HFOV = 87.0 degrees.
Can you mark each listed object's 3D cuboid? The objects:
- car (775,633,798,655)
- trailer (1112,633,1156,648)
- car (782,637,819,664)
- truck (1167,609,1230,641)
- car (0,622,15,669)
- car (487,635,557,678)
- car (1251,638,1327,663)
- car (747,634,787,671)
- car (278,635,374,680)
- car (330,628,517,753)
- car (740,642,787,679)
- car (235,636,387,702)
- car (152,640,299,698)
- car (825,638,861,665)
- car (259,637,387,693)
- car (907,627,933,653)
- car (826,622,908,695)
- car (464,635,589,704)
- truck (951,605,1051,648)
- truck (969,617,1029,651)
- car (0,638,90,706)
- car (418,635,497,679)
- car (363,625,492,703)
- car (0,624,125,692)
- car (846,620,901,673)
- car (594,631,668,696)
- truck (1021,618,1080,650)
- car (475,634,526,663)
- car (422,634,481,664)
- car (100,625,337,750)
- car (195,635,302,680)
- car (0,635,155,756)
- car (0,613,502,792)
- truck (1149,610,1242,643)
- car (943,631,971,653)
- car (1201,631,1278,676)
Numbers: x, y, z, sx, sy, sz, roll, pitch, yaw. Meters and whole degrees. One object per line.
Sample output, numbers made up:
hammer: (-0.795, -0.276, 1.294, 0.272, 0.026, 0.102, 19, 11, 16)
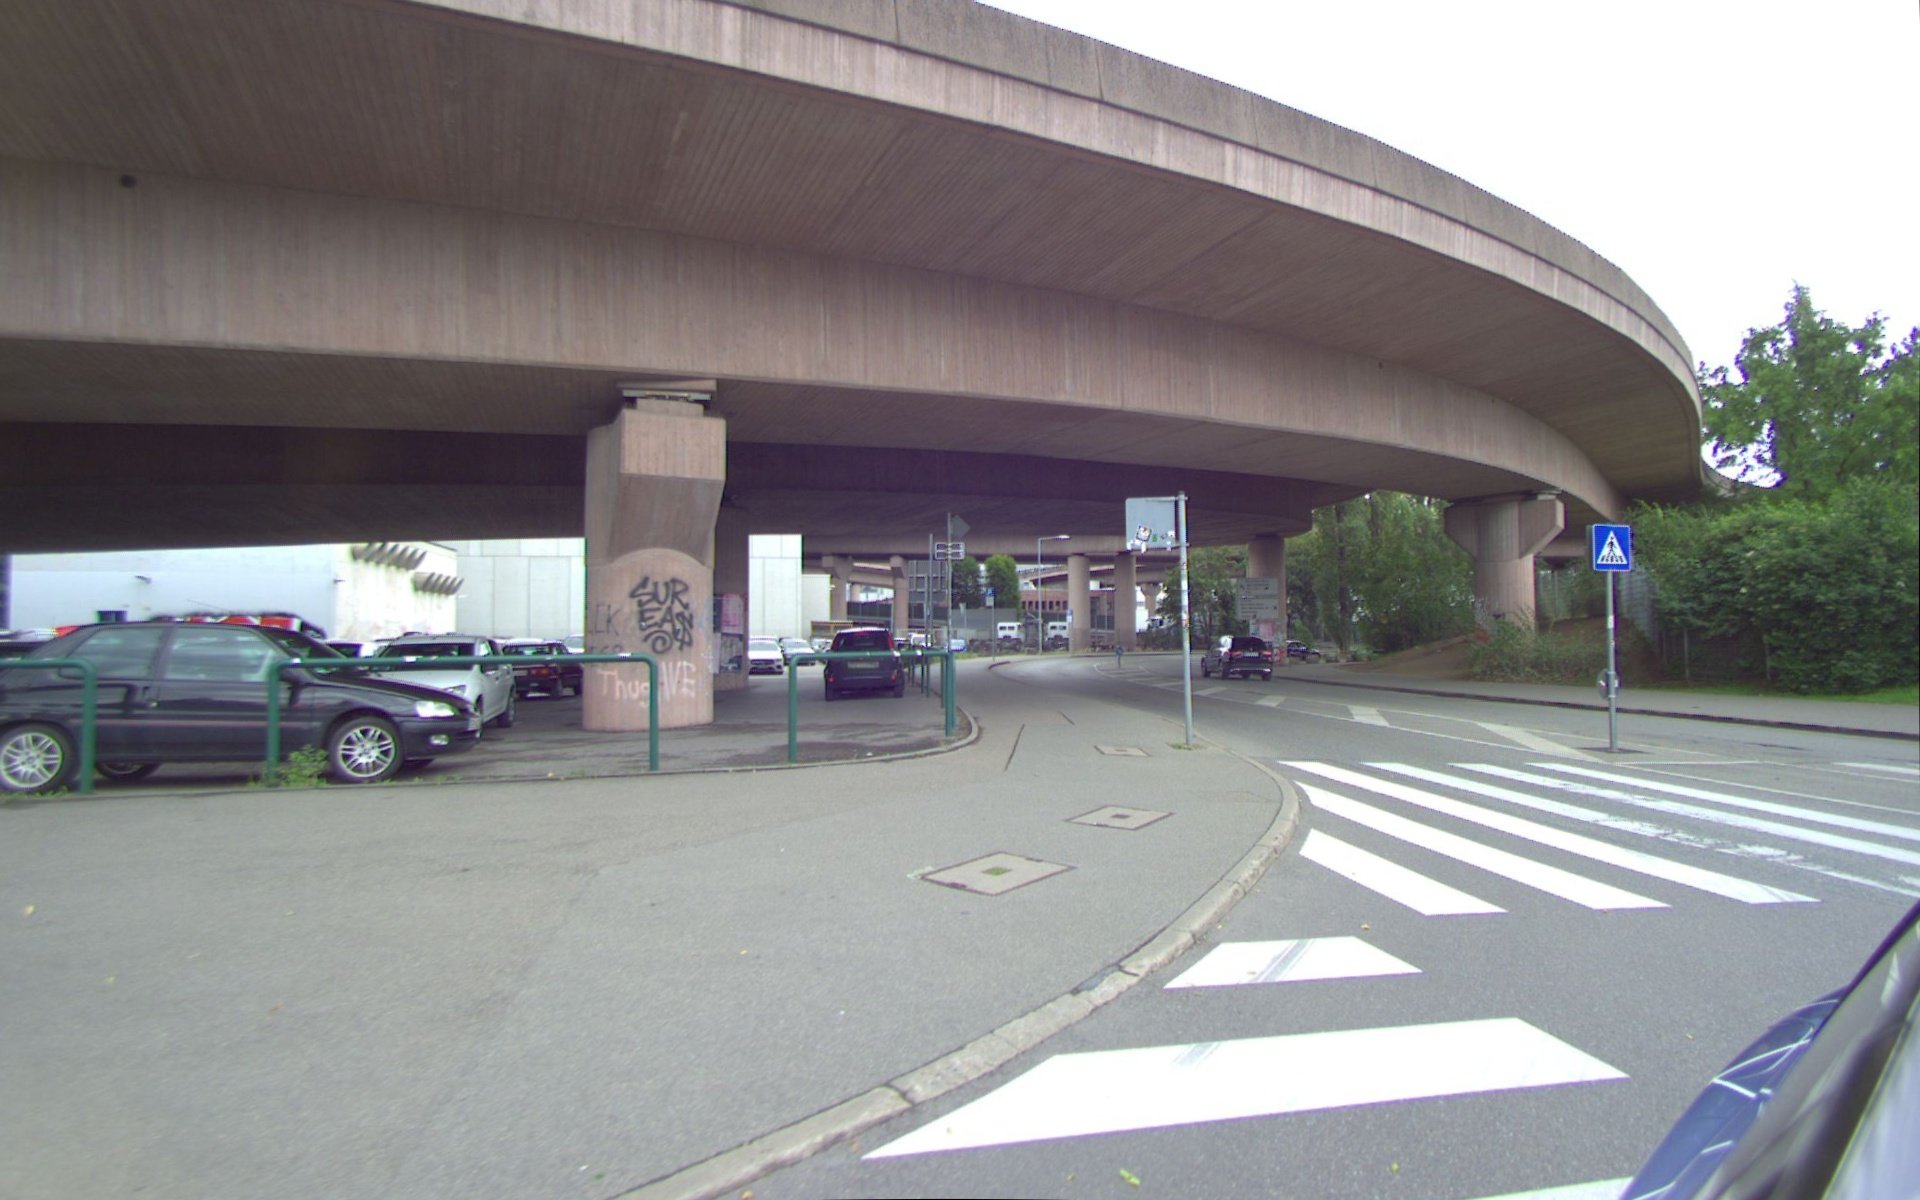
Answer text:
car: (-12.654, 3.216, 73.915, 1.590, 1.564, 3.101, 1, -2, -9)
trailer: (16.614, 3.813, 96.750, 4.300, 1.348, 1.605, 1, -1, -36)
car: (-9.320, 2.935, 58.918, 1.819, 1.494, 4.693, 0, -2, -12)
truck: (25.797, 2.689, 109.609, 6.282, 3.452, 2.273, 0, -1, -6)
car: (-35.531, 1.602, 35.315, 1.800, 1.710, 4.198, 0, -2, -13)
car: (-17.394, 2.224, 40.404, 1.800, 1.613, 4.198, 0, -2, -13)
car: (20.003, 3.062, 61.510, 4.680, 1.449, 1.828, 1, -4, -33)
car: (-9.190, 2.458, 48.043, 1.709, 1.697, 4.477, 0, -2, -13)
car: (-24.123, 2.155, 38.703, 1.800, 1.613, 4.198, 0, -2, -13)
car: (-7.695, 1.207, 14.896, 1.604, 1.572, 4.018, 1, -2, -16)
car: (-8.370, 2.531, 42.822, 1.800, 1.440, 4.198, 0, -2, -13)
car: (-15.264, 1.572, 24.042, 1.800, 1.446, 3.868, 0, -2, -13)
car: (-20.488, 1.877, 28.455, 1.800, 1.485, 4.198, 0, -2, -13)
car: (-6.958, 3.015, 59.801, 1.820, 1.494, 4.692, 0, -2, -10)
car: (-18.244, 1.810, 29.207, 1.800, 1.485, 4.198, 0, -2, -13)
car: (-3.170, 3.114, 78.789, 1.856, 1.982, 4.682, 1, -2, -4)
car: (-1.961, 1.233, 22.046, 1.580, 1.415, 3.580, -2, -2, -3)
car: (-10.545, 1.643, 24.957, 1.801, 1.489, 4.384, -1, -2, -9)
truck: (4.268, 2.896, 107.214, 9.926, 4.423, 3.918, 1, -3, -10)
truck: (3.626, 3.112, 92.404, 2.445, 2.924, 6.033, -2, -3, 38)
car: (-21.828, 1.592, 22.760, 1.800, 1.446, 3.868, 0, -2, -13)
car: (-19.714, 2.193, 39.879, 1.800, 1.613, 4.198, 0, -2, -13)
car: (-12.725, 1.495, 24.444, 1.800, 1.720, 3.868, 0, -2, -13)
car: (-25.364, 1.531, 27.463, 2.047, 1.699, 5.114, 0, -2, -13)
car: (-2.713, 1.474, 32.332, 1.580, 1.553, 3.410, -2, -2, -3)
car: (-8.468, 1.590, 26.226, 1.498, 1.519, 3.380, -2, -2, -13)
truck: (8.323, 3.109, 92.565, 2.406, 2.780, 7.149, -2, -3, 32)
car: (-25.123, 2.626, 55.484, 1.732, 1.553, 3.982, 0, -2, -12)
car: (-27.544, 2.621, 54.940, 1.732, 1.553, 4.495, 0, -2, -12)
car: (-10.450, 1.155, 14.608, 1.662, 1.529, 3.868, 1, -2, -19)
car: (-26.686, 2.118, 38.112, 1.800, 1.613, 4.198, 0, -2, -13)
car: (-12.895, 1.215, 13.886, 1.662, 1.462, 3.868, 1, -2, -19)
car: (-6.122, 0.853, 8.823, 3.622, 1.348, 1.512, 0, -5, -13)
truck: (26.271, 2.946, 112.975, 10.005, 3.543, 2.274, 0, -1, -9)
car: (-0.190, 3.224, 78.675, 1.745, 1.656, 4.676, 0, -2, 6)
car: (10.542, 1.987, 38.476, 1.812, 1.595, 4.545, 0, -2, 3)
